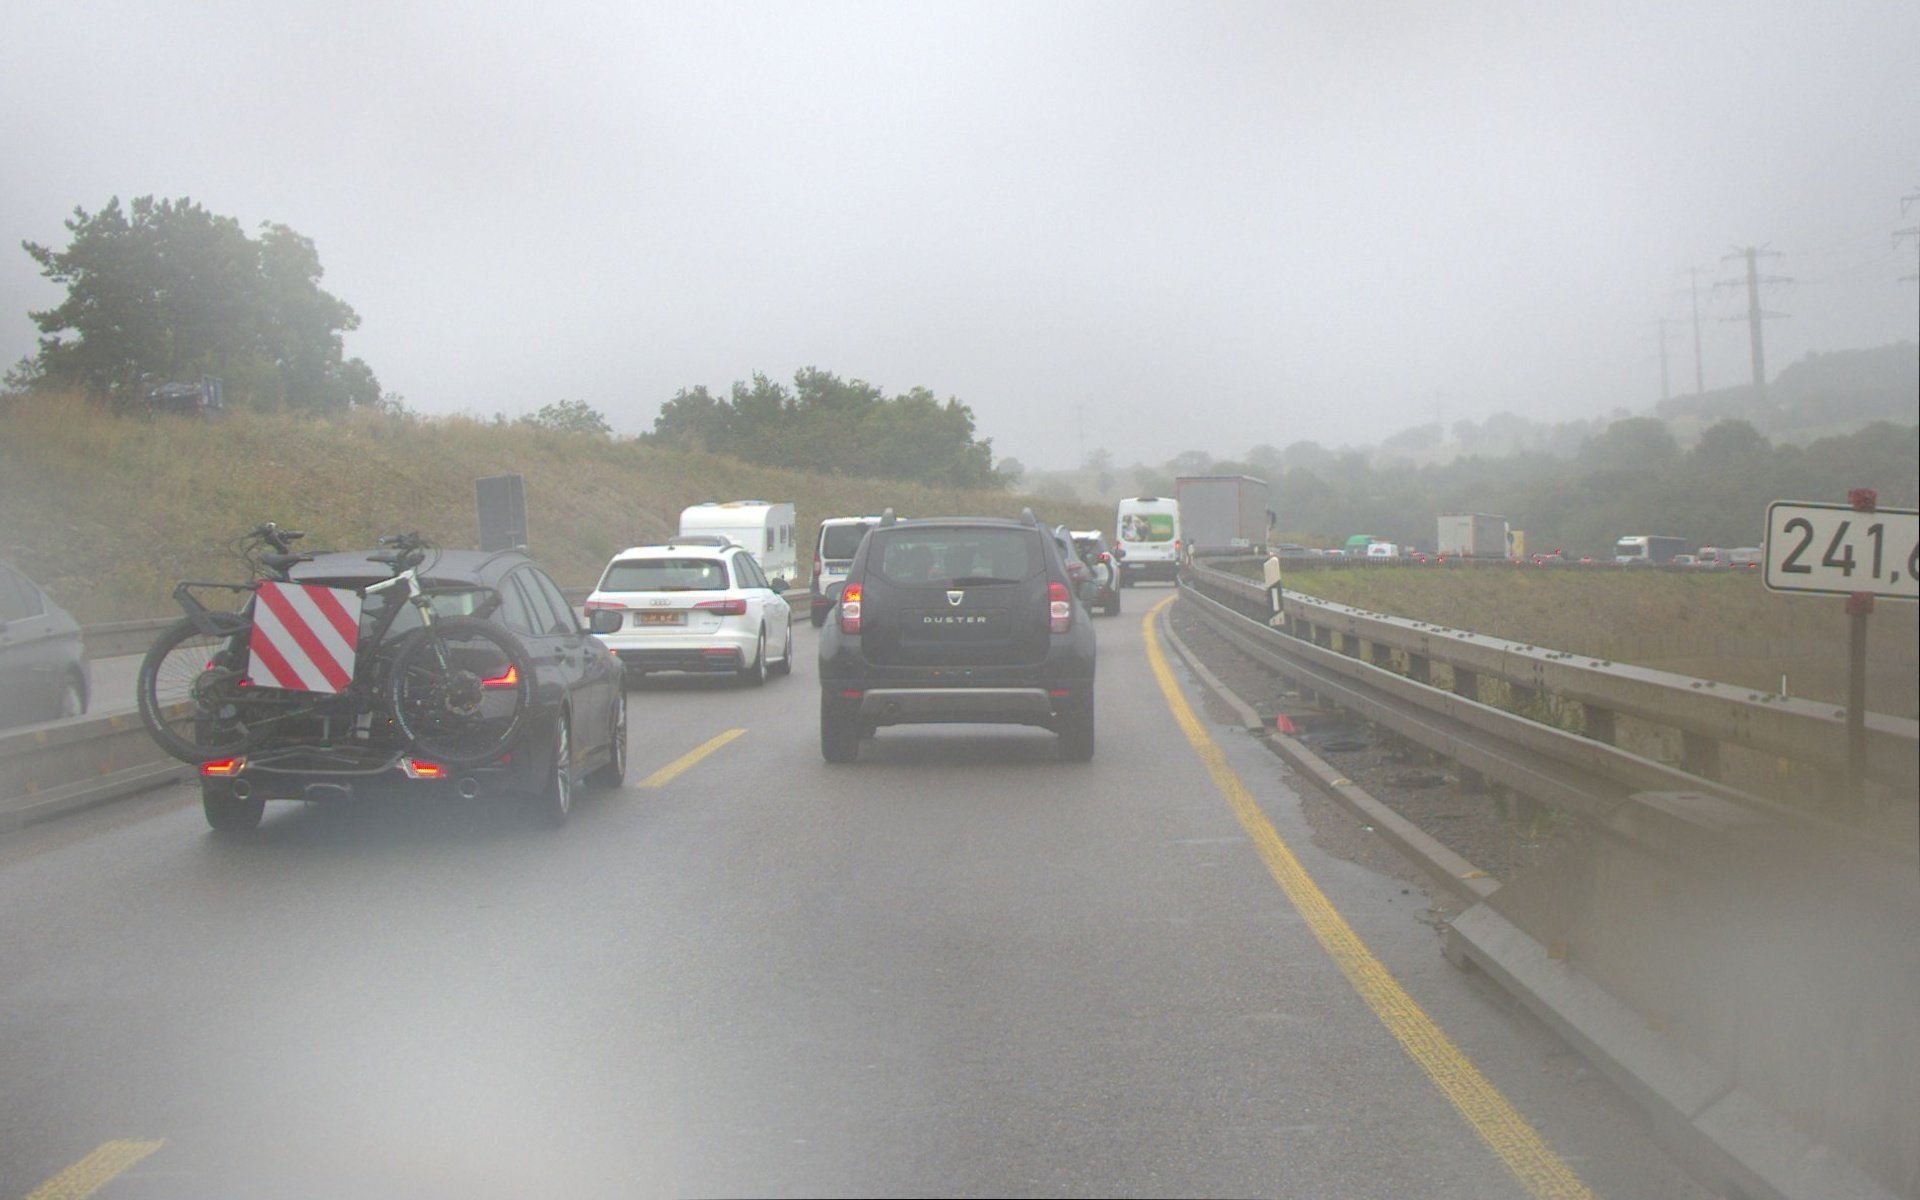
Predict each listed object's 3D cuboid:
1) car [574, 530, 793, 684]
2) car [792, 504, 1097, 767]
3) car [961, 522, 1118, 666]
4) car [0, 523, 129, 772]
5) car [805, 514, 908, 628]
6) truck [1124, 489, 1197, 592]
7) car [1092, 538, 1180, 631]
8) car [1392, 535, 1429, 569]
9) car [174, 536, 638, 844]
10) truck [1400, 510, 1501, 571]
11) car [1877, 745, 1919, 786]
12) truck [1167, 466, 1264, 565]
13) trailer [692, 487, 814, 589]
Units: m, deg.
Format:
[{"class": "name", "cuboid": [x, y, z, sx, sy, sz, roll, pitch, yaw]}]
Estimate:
[{"class": "car", "cuboid": [-2.745, 0.028, 35.041, 1.867, 1.455, 4.549, 1, 1, 0]}, {"class": "car", "cuboid": [-0.026, 0.203, 23.434, 1.804, 1.640, 3.776, 0, 1, 4]}, {"class": "car", "cuboid": [0.999, -0.105, 43.113, 1.867, 1.702, 4.000, 0, 1, 1]}, {"class": "car", "cuboid": [-6.466, 0.296, 20.533, 1.803, 1.434, 4.951, -2, 1, -1]}, {"class": "car", "cuboid": [-1.732, -0.513, 58.694, 1.660, 1.873, 4.020, 1, 1, -1]}, {"class": "truck", "cuboid": [6.295, -1.882, 108.532, 2.149, 3.155, 6.459, 1, 1, 2]}, {"class": "car", "cuboid": [3.201, -0.313, 63.004, 1.530, 1.635, 4.013, 1, 1, 2]}, {"class": "car", "cuboid": [26.344, -2.810, 200.899, 1.776, 1.909, 3.998, 1, 1, 12]}, {"class": "car", "cuboid": [-2.843, 0.412, 18.434, 1.829, 1.471, 3.776, -1, 1, 1]}, {"class": "truck", "cuboid": [34.817, -4.221, 243.209, 4.721, 4.135, 15.670, 1, 1, 17]}, {"class": "car", "cuboid": [52.962, 9.287, 192.989, 2.366, 2.007, 3.999, 1, 1, 9]}, {"class": "truck", "cuboid": [10.110, -3.298, 135.333, 3.201, 3.748, 8.507, 1, 1, 8]}, {"class": "trailer", "cuboid": [-5.402, -1.656, 90.736, 2.510, 2.556, 7.162, 0, 1, 2]}]
